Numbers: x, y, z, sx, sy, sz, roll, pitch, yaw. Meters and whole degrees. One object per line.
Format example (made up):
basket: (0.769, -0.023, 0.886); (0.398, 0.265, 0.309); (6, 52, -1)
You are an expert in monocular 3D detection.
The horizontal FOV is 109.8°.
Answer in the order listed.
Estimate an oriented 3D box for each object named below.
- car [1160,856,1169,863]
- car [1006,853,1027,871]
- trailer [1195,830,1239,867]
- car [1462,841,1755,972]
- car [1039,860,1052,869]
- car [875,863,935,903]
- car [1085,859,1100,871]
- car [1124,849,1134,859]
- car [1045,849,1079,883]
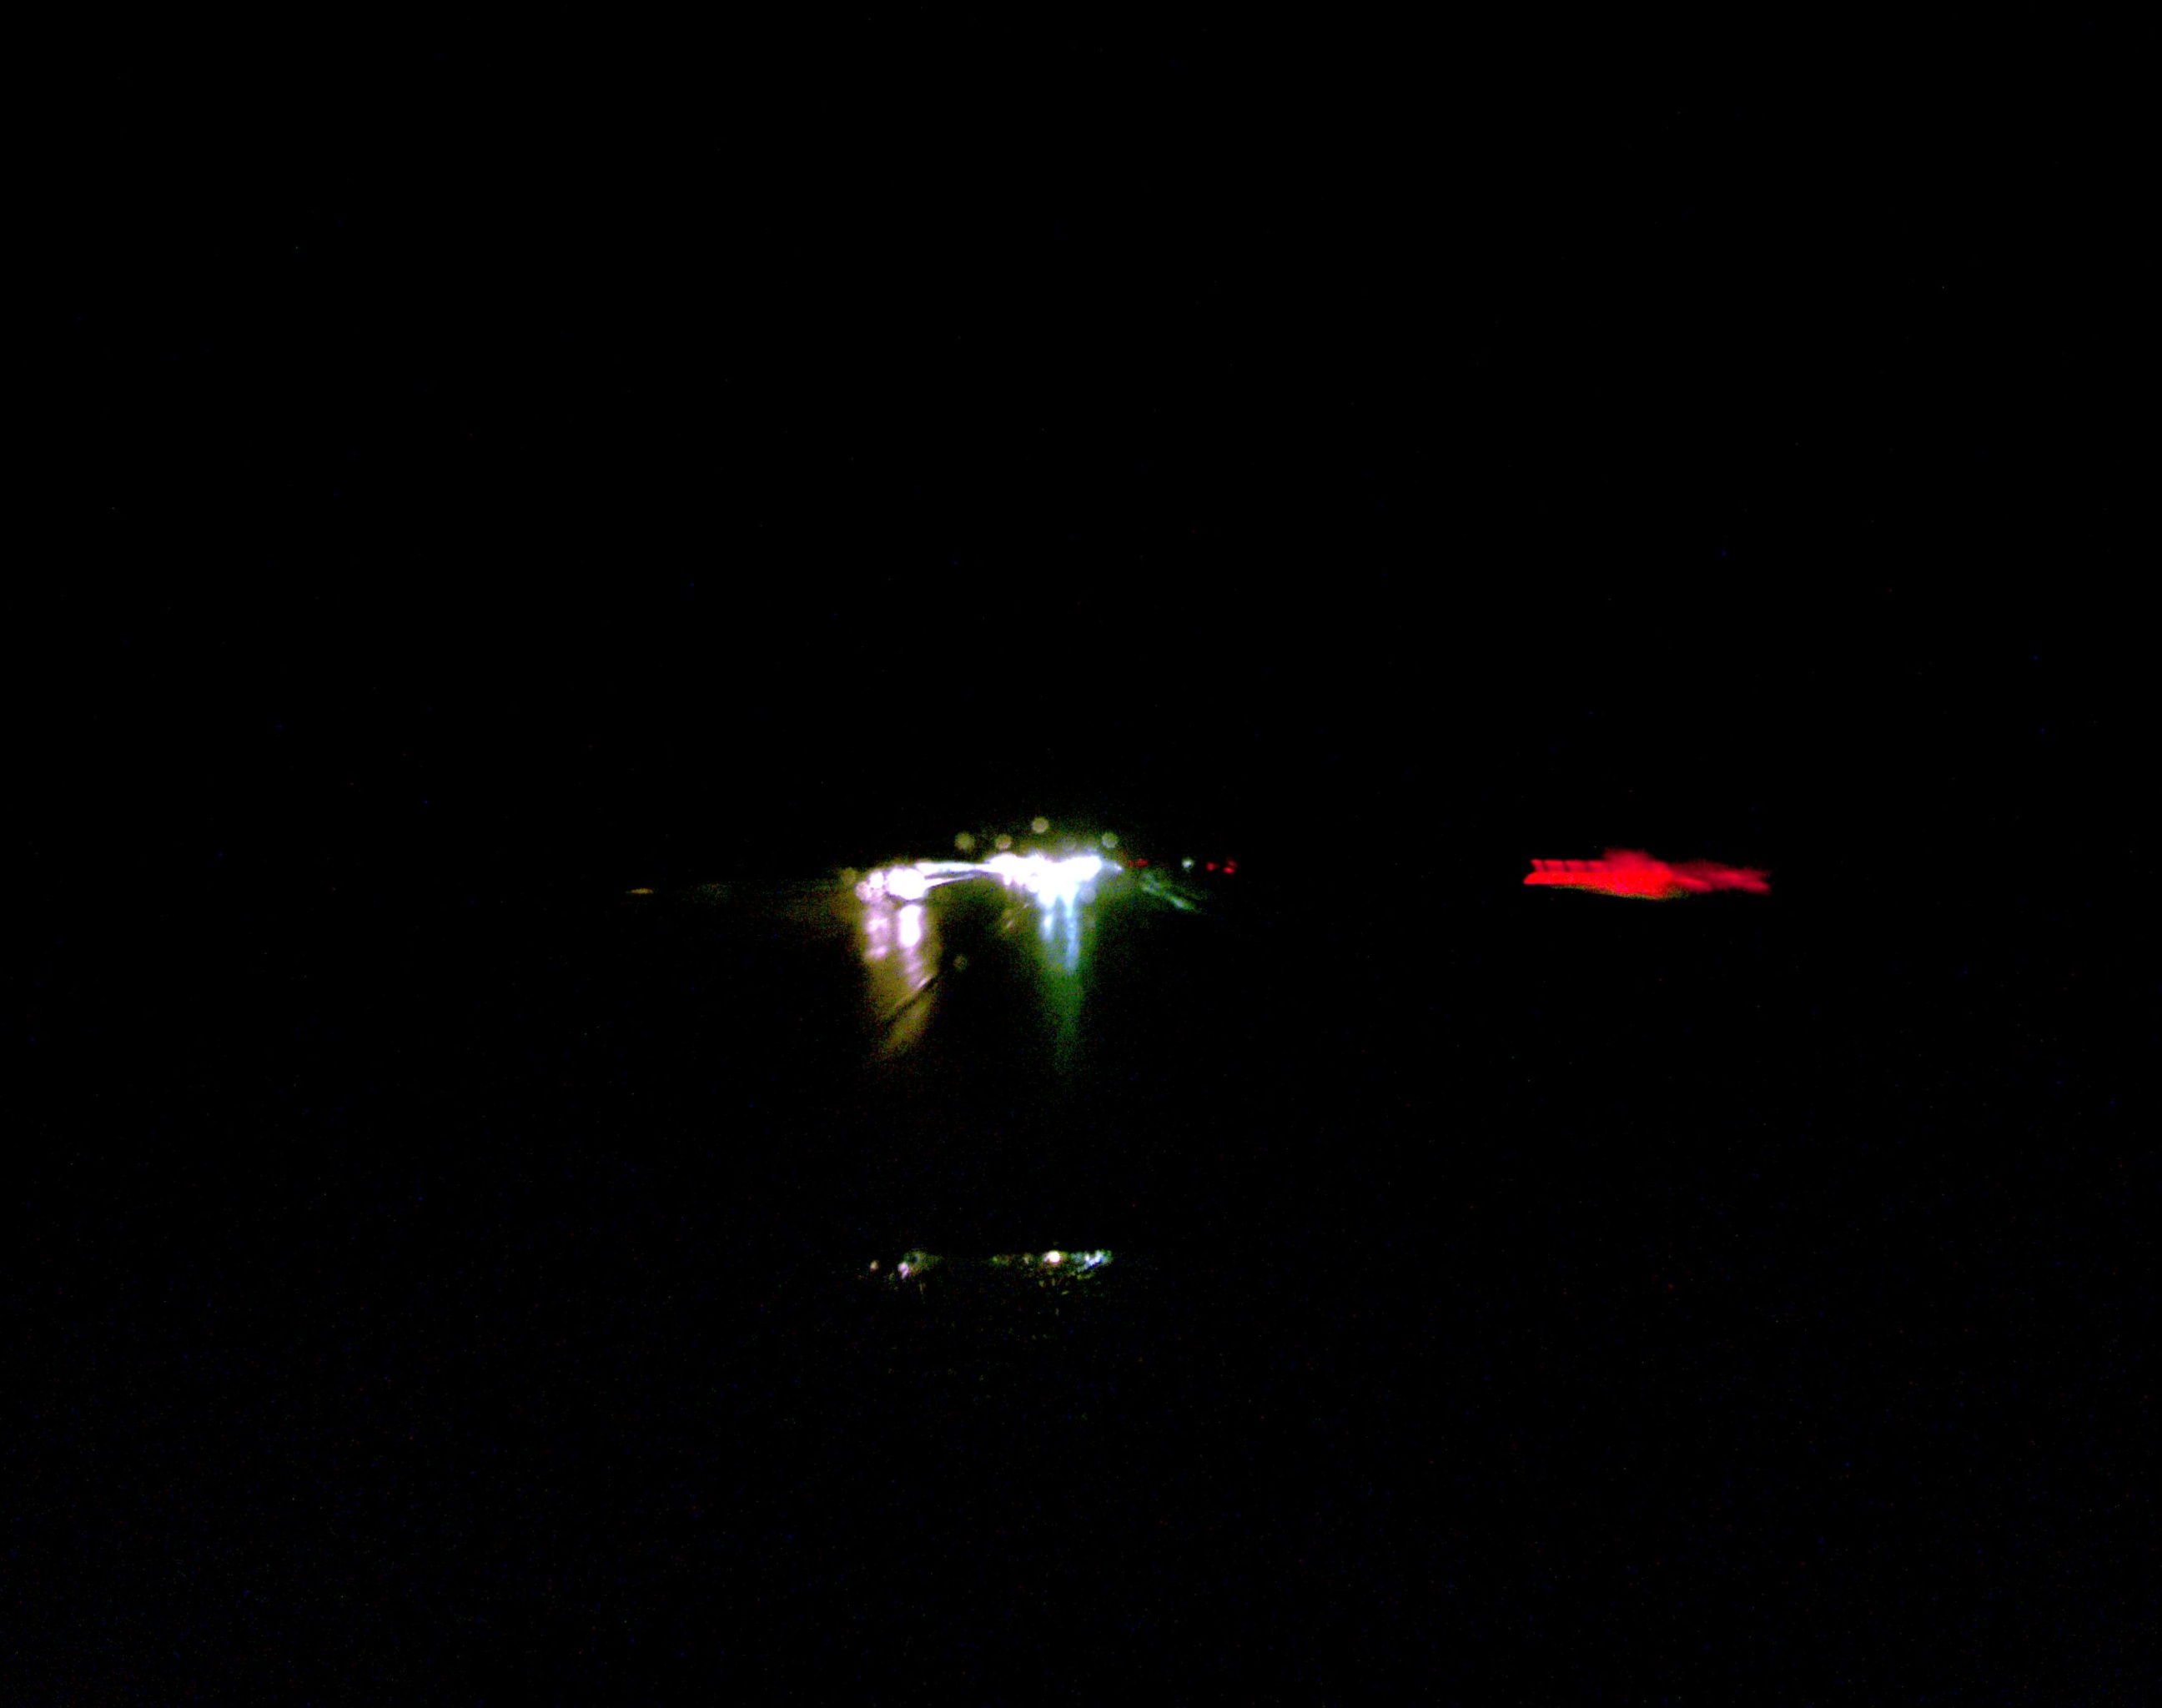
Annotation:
car: (21.769, 1.492, 197.671); (1.998, 1.704, 4.246); (0, 0, 1)
car: (-6.967, 0.893, 82.656); (1.832, 1.835, 4.699); (-3, -1, 0)
trailer: (17.822, -0.667, 100.999); (2.980, 4.243, 14.862); (-5, 0, 1)
car: (8.416, 0.737, 12.670); (1.999, 1.729, 3.999); (-3, 0, -1)
car: (-6.651, 1.929, 141.182); (1.882, 1.653, 4.002); (-3, -1, 4)
car: (-7.157, 1.129, 31.243); (1.644, 1.494, 4.012); (-1, 0, -2)
car: (1.562, 1.545, 105.099); (1.883, 1.653, 4.001); (-3, -1, 1)
car: (10.452, 0.020, 166.380); (1.998, 2.002, 4.451); (-1, 0, 1)
car: (-1.271, 0.764, 49.233); (1.999, 2.001, 3.999); (-2, 0, -3)
